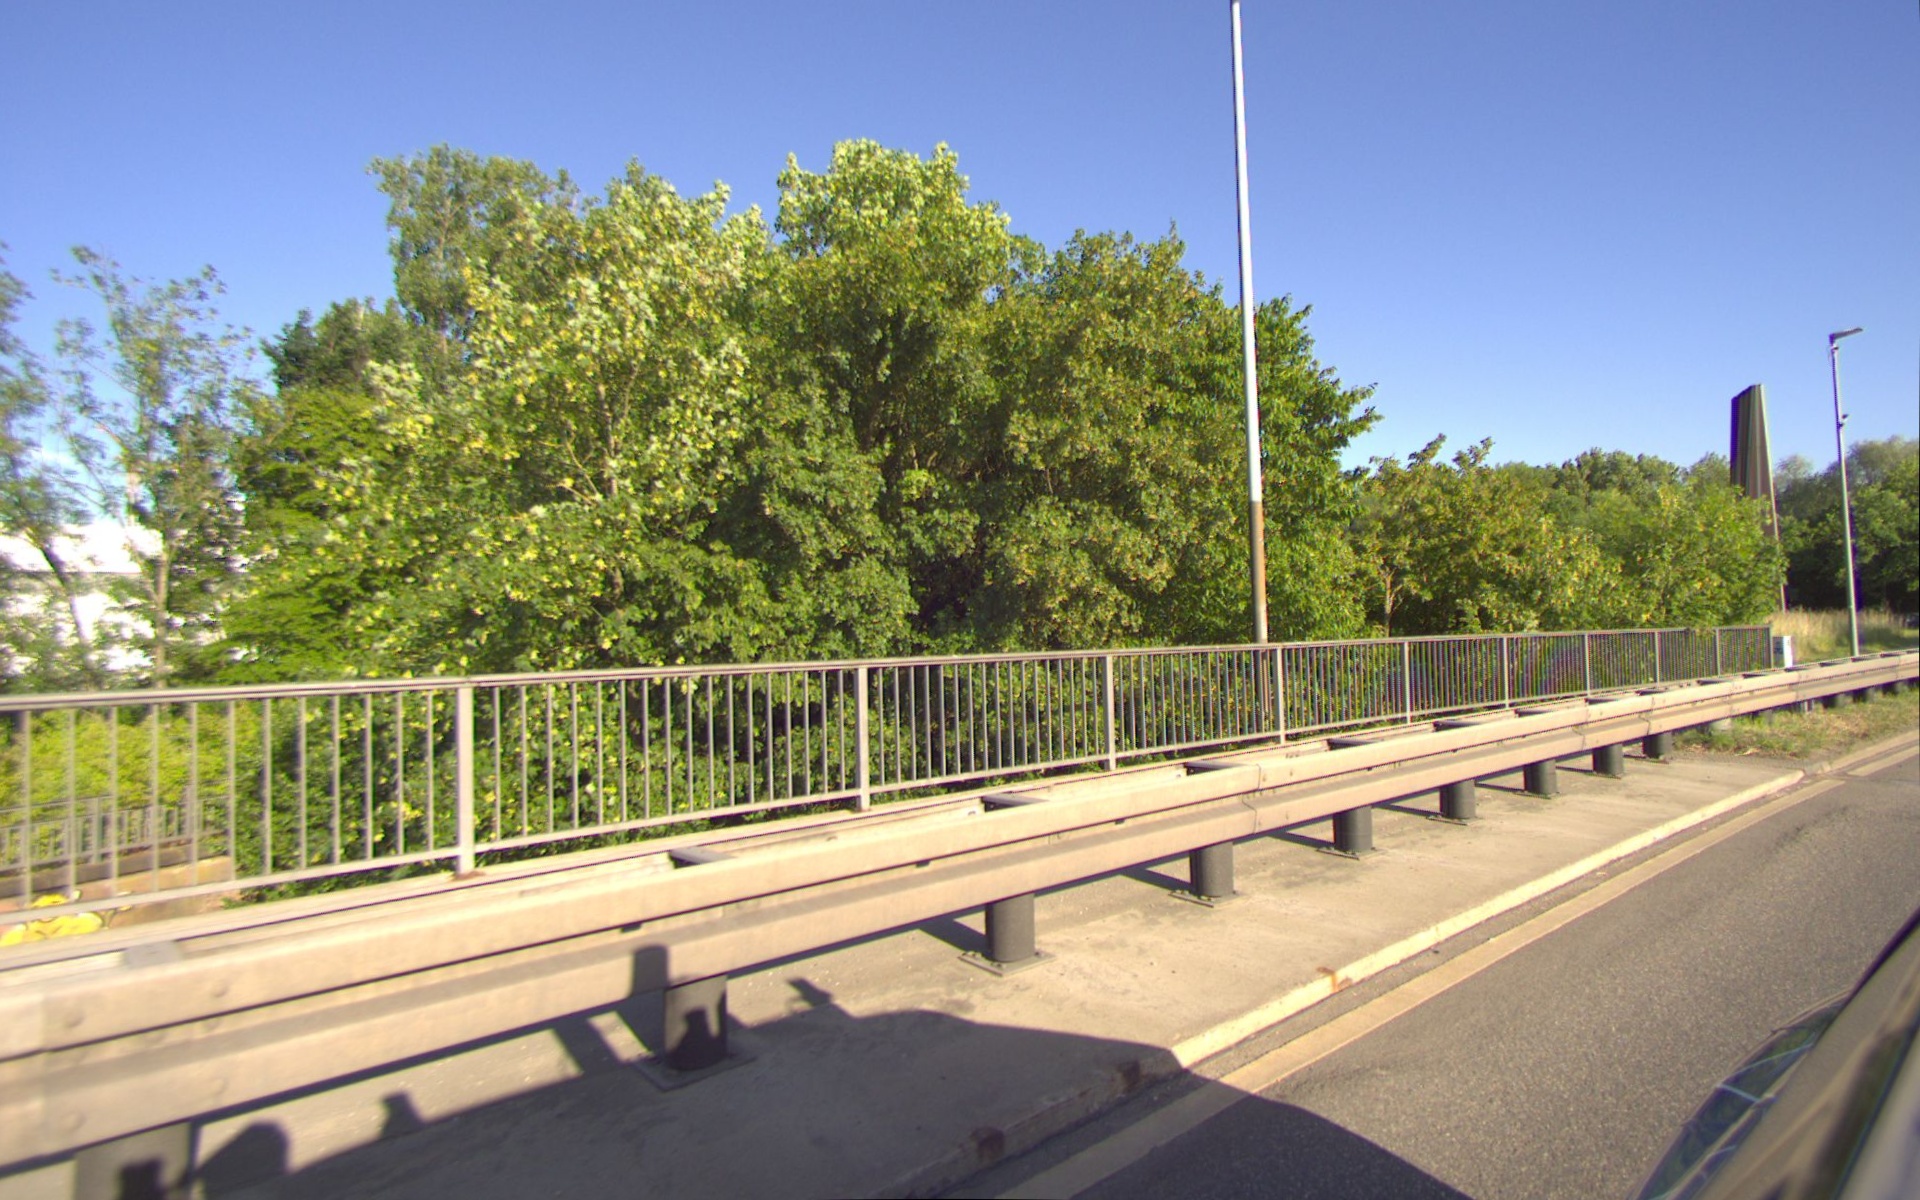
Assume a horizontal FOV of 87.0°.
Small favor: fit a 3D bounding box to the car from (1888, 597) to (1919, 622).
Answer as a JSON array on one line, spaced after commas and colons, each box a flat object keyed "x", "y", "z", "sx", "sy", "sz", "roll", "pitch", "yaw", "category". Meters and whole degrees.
[{"x": 56.859, "y": 0.581, "z": 58.956, "sx": 1.809, "sy": 1.431, "sz": 3.990, "roll": 0, "pitch": 1, "yaw": -2, "category": "car"}]
